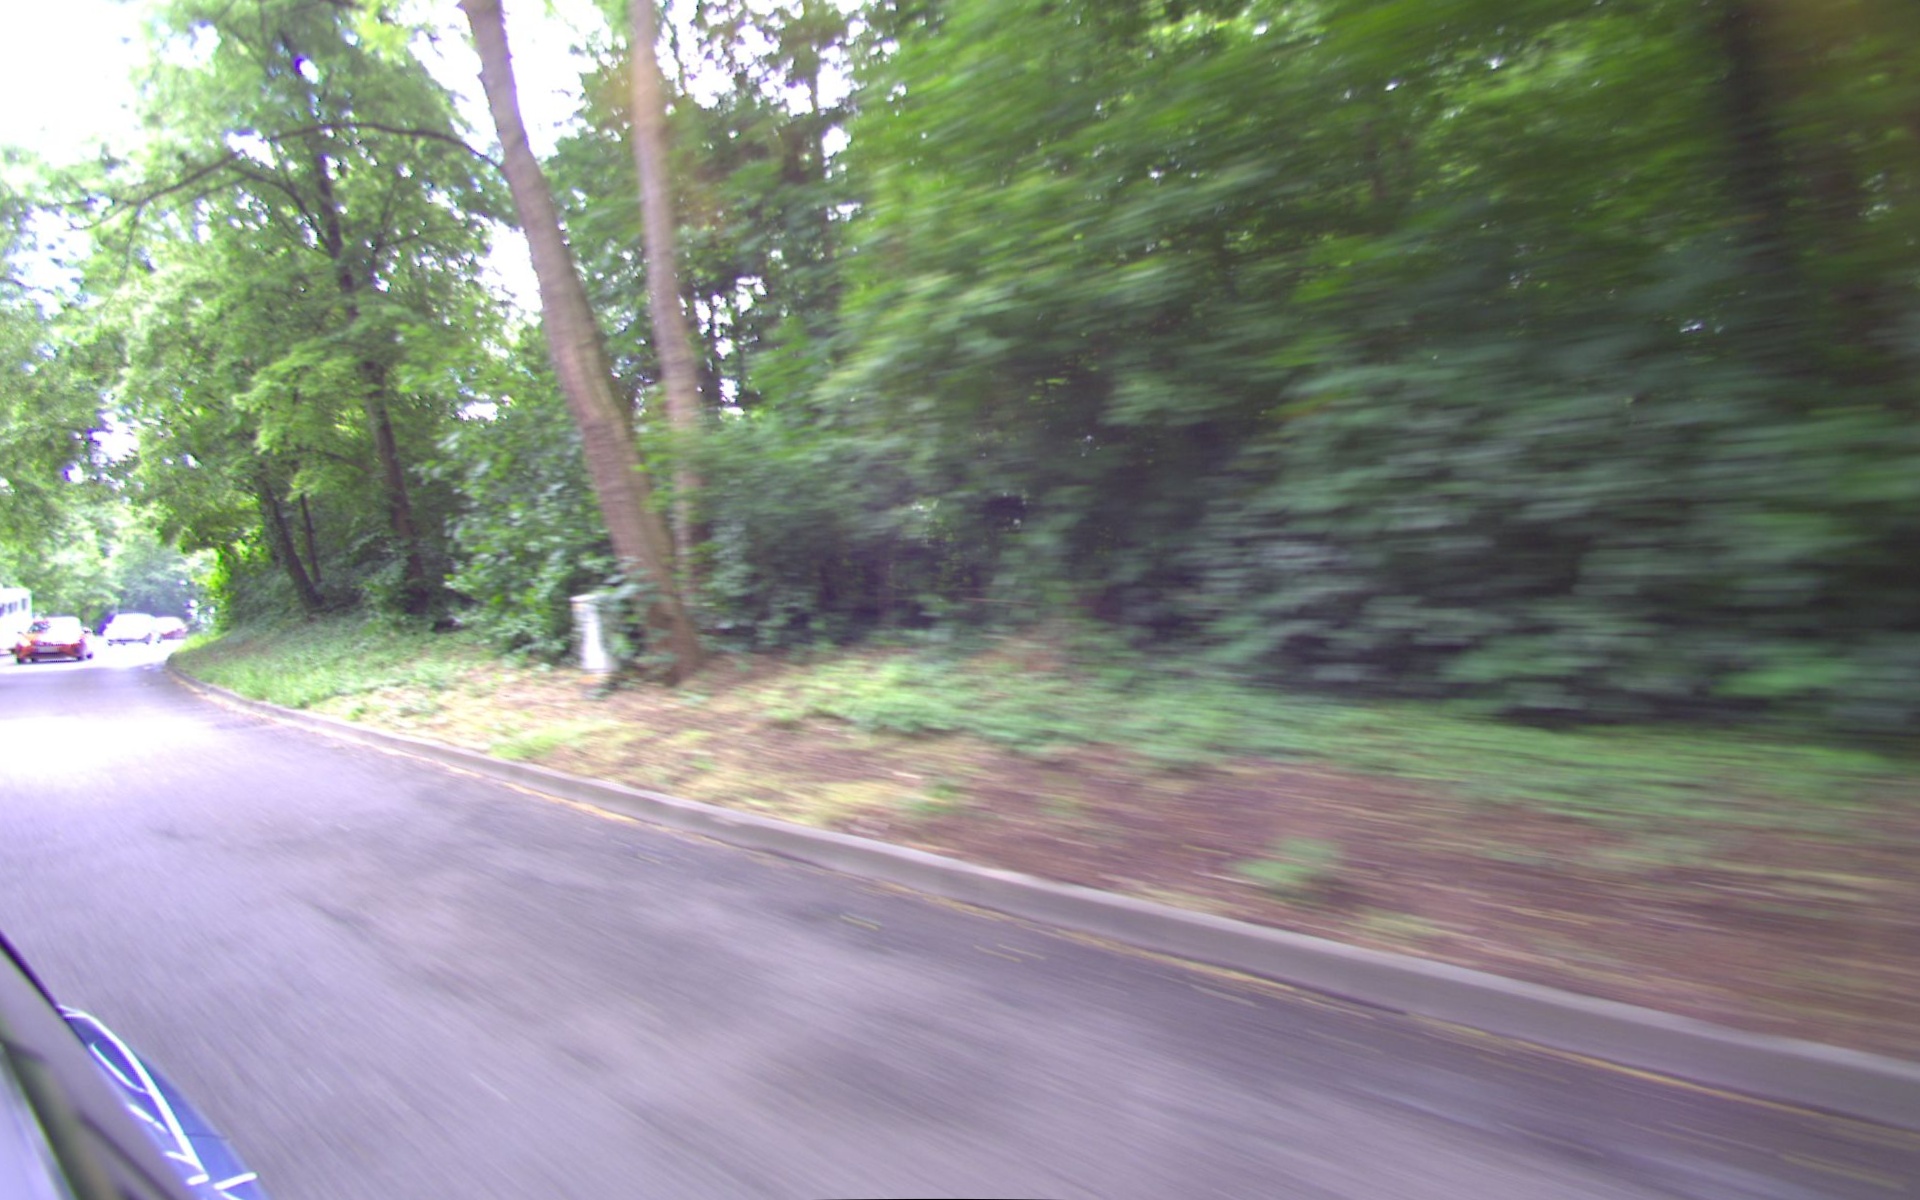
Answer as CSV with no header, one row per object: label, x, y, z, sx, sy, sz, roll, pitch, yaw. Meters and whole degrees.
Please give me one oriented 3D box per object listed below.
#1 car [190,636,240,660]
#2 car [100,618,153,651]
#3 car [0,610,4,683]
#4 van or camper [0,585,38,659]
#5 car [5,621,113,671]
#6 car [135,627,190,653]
car,-53.853,3.433,73.188,1.739,1.580,4.058,-1,-1,-19
car,-44.102,1.842,53.545,4.046,1.580,1.632,-2,0,43
car,-21.111,1.023,20.458,1.972,1.620,4.688,-3,0,-36
van or camper,-41.078,0.970,42.244,2.391,3.002,7.414,-3,0,-31
car,-30.301,1.501,34.182,1.926,1.483,4.690,-3,0,-32
car,-54.424,2.722,69.155,1.686,1.563,4.692,-3,0,-22
